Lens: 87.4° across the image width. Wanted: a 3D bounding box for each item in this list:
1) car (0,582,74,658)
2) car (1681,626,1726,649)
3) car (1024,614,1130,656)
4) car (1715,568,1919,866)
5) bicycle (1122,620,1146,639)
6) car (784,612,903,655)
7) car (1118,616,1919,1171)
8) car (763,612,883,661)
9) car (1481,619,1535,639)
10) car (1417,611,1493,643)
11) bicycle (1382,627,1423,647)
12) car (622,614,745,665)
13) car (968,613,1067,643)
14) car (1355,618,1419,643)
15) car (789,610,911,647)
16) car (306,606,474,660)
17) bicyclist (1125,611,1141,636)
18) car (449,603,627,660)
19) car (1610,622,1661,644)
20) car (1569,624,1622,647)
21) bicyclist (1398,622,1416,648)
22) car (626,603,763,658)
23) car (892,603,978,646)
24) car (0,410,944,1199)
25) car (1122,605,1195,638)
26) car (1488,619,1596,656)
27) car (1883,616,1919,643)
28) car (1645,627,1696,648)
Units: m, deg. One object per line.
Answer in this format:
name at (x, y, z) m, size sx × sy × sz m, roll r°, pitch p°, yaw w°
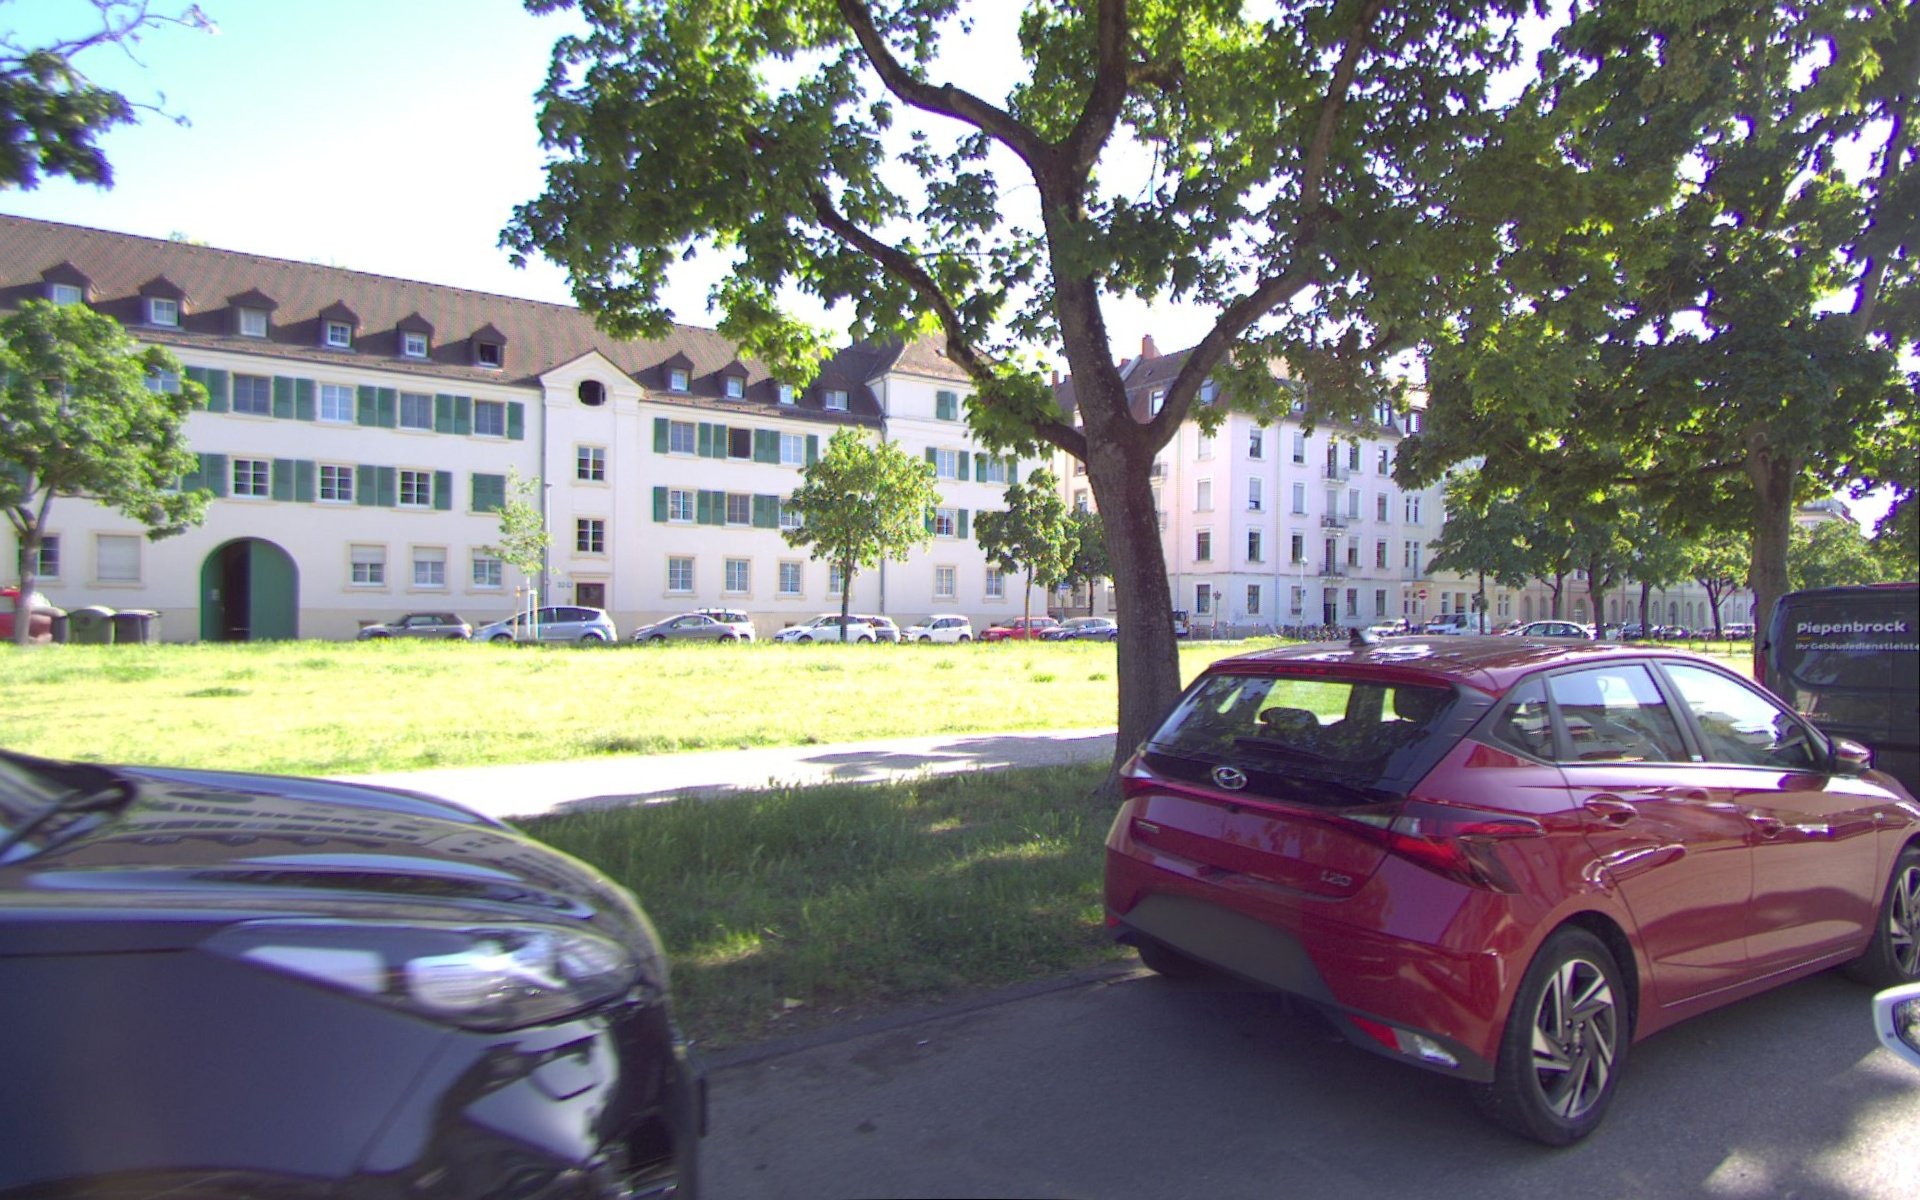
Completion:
car at (-27.220, 0.496, 26.663) m, size 5.198 × 2.011 × 2.209 m, roll 1°, pitch 0°, yaw -32°
car at (59.575, 2.995, 80.446) m, size 4.038 × 1.709 × 1.621 m, roll 1°, pitch 0°, yaw -34°
car at (5.487, 1.629, 46.929) m, size 4.655 × 1.844 × 2.145 m, roll 1°, pitch 0°, yaw -33°
car at (7.870, 0.784, 7.521) m, size 4.935 × 1.808 × 1.855 m, roll 2°, pitch -1°, yaw -31°
bicycle at (9.978, 1.690, 57.487) m, size 1.475 × 1.030 × 0.523 m, roll 1°, pitch 0°, yaw -39°
car at (-5.415, 1.546, 46.998) m, size 5.101 × 1.911 × 2.142 m, roll 1°, pitch 0°, yaw -32°
car at (2.750, 0.827, 4.352) m, size 4.040 × 1.447 × 1.530 m, roll 1°, pitch -1°, yaw -31°
car at (-5.473, 1.426, 40.162) m, size 4.213 × 1.844 × 2.222 m, roll 1°, pitch 0°, yaw -34°
car at (35.756, 1.892, 65.498) m, size 3.489 × 1.296 × 1.684 m, roll 1°, pitch -1°, yaw -34°
car at (31.063, 1.683, 62.999) m, size 5.045 × 1.897 × 2.069 m, roll 1°, pitch 0°, yaw -34°
bicycle at (23.601, 1.958, 53.610) m, size 1.945 × 1.030 × 0.658 m, roll 1°, pitch 0°, yaw 27°
car at (-10.242, 1.429, 37.188) m, size 3.961 × 1.773 × 2.306 m, roll 1°, pitch 0°, yaw -30°
car at (2.987, 1.459, 51.804) m, size 4.903 × 1.504 × 1.983 m, roll 1°, pitch -1°, yaw -32°
car at (28.834, 2.054, 67.816) m, size 4.408 × 1.608 × 1.980 m, roll 1°, pitch -1°, yaw -35°
car at (-4.724, 1.238, 43.466) m, size 4.903 × 1.504 × 1.983 m, roll 1°, pitch -1°, yaw -32°
car at (-20.925, 1.201, 37.094) m, size 5.195 × 1.844 × 2.439 m, roll 1°, pitch 0°, yaw -30°
bicyclist at (9.910, 1.331, 57.437) m, size 0.779 × 1.382 × 0.527 m, roll 1°, pitch 0°, yaw -40°
car at (-14.489, 1.061, 34.553) m, size 5.389 × 1.844 × 2.439 m, roll 1°, pitch 0°, yaw -30°
car at (49.841, 2.446, 74.135) m, size 4.309 × 1.570 × 1.621 m, roll 1°, pitch 0°, yaw -34°
car at (45.256, 2.500, 71.504) m, size 4.038 × 1.547 × 1.684 m, roll 1°, pitch 0°, yaw -34°
bicyclist at (23.797, 1.854, 53.484) m, size 0.861 × 1.382 × 0.623 m, roll 1°, pitch 1°, yaw 26°
car at (-11.387, 1.284, 43.169) m, size 5.202 × 2.245 × 2.516 m, roll 1°, pitch 0°, yaw -33°
car at (-1.212, 1.208, 49.248) m, size 3.854 × 2.040 × 1.656 m, roll 2°, pitch -1°, yaw -32°
car at (-2.546, 0.642, 1.140) m, size 4.701 × 1.647 × 2.016 m, roll 1°, pitch -2°, yaw -30°
car at (12.970, 1.411, 65.956) m, size 2.118 × 2.040 × 4.533 m, roll 1°, pitch 0°, yaw -34°
car at (27.310, 1.716, 47.161) m, size 4.276 × 1.597 × 1.923 m, roll 0°, pitch -1°, yaw 35°
car at (98.741, 3.061, 105.136) m, size 5.566 × 2.780 × 1.904 m, roll 1°, pitch 0°, yaw -34°
car at (54.896, 2.879, 77.576) m, size 4.481 × 1.570 × 1.746 m, roll 1°, pitch -1°, yaw -34°
